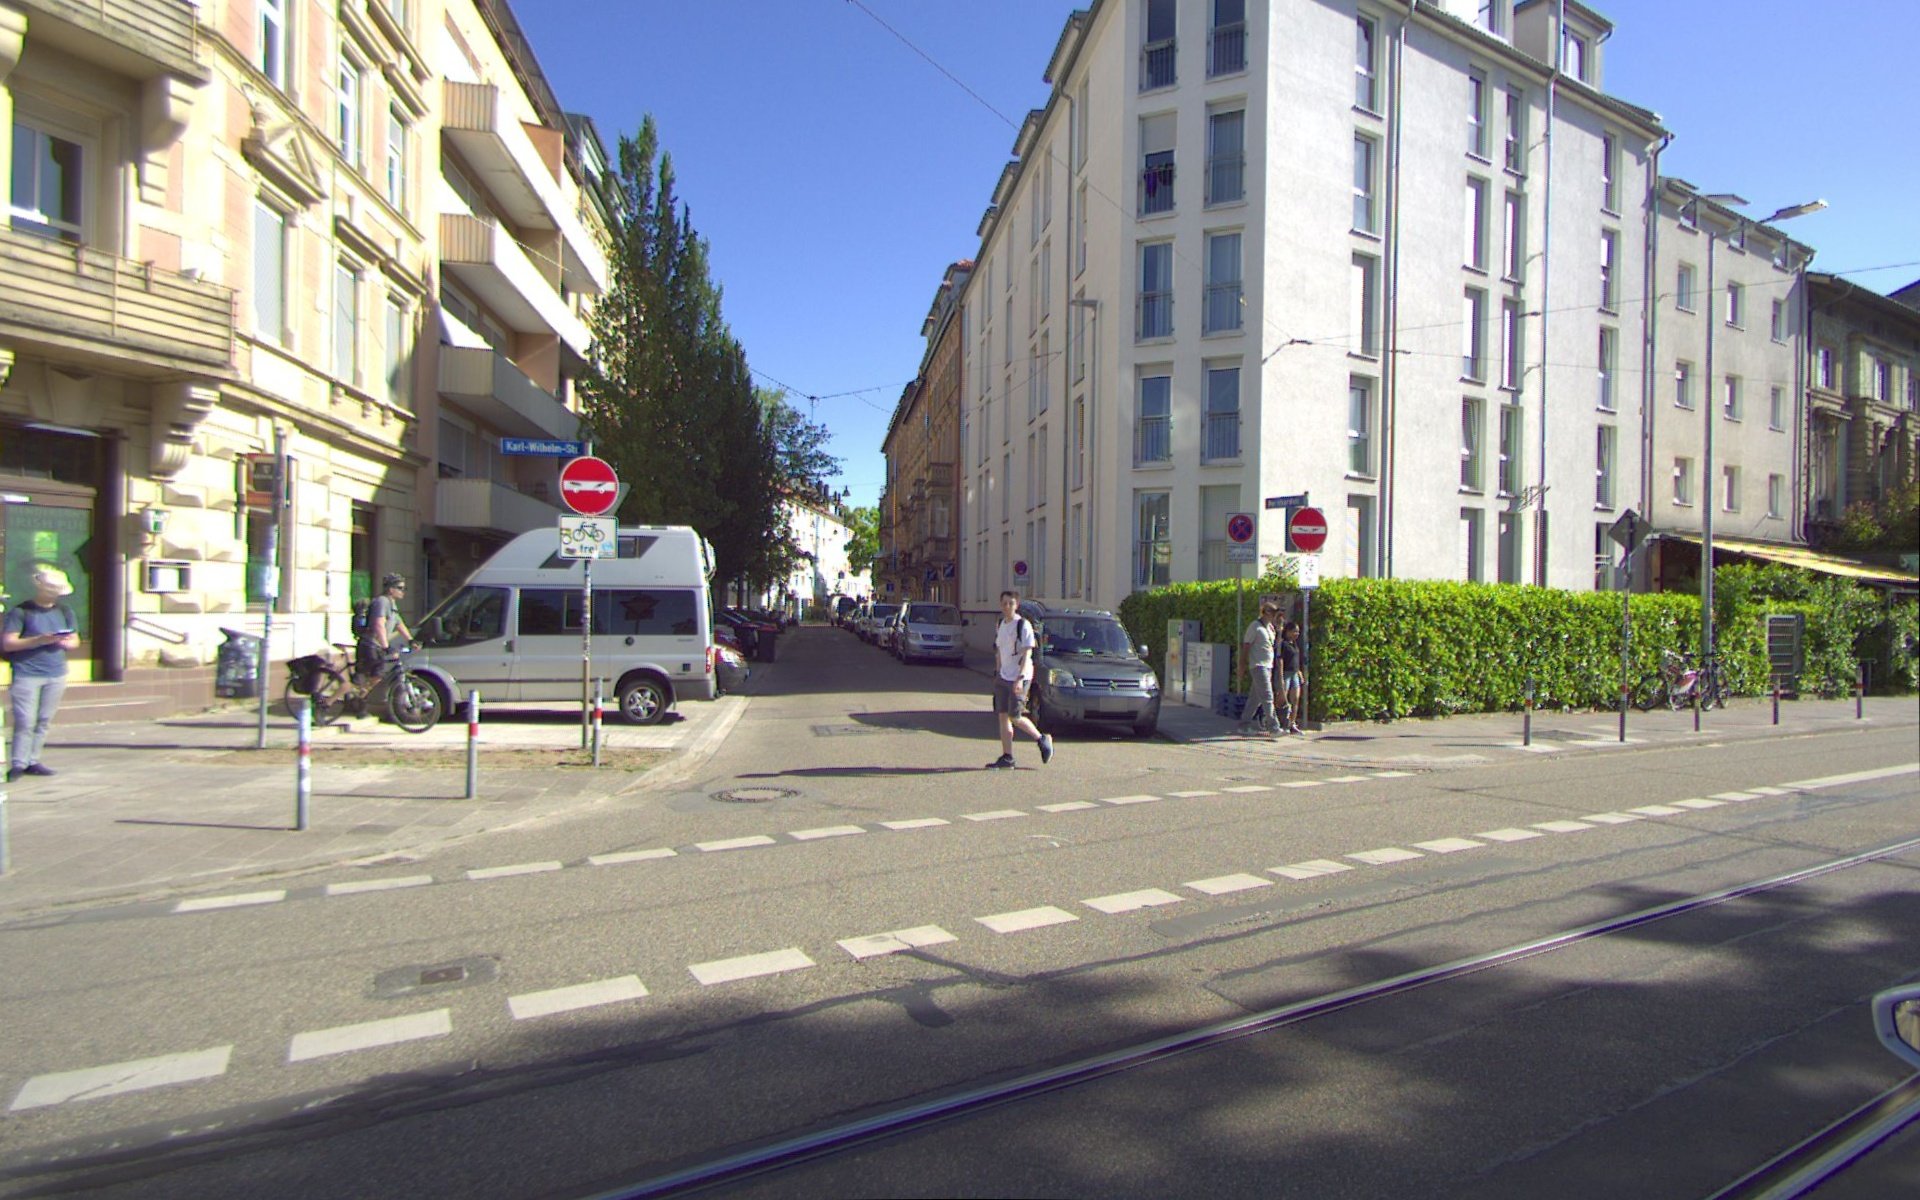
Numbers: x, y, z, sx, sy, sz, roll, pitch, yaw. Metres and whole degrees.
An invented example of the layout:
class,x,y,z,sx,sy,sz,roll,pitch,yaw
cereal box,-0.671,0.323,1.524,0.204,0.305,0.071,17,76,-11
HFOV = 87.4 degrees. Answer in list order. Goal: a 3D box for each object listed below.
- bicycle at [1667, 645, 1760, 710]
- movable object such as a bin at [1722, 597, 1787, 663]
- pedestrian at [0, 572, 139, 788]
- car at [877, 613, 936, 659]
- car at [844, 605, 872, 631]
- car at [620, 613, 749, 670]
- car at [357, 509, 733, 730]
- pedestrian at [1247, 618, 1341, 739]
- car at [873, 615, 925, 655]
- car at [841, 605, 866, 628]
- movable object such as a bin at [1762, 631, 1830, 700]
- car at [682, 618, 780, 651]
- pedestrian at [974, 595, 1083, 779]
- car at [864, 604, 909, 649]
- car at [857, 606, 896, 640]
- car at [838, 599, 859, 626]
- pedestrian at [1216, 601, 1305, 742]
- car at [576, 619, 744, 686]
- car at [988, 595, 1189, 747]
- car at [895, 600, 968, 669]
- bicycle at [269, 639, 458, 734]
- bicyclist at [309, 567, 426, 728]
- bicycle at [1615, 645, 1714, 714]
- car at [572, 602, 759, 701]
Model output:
class,x,y,z,sx,sy,sz,roll,pitch,yaw
bicycle,13.899,1.410,18.511,1.818,1.104,0.658,2,2,-30
movable object such as a bin,18.313,0.697,23.145,1.244,1.476,0.802,1,-1,-32
pedestrian,-7.446,0.626,8.214,0.816,1.676,0.707,2,-1,2
car,-2.071,1.330,37.812,1.782,1.589,3.994,2,-1,-9
car,-7.304,1.283,71.594,1.782,1.754,3.994,2,-1,-9
car,-8.212,1.248,30.207,3.548,1.574,1.390,2,-1,-9
car,-5.781,0.341,14.666,4.702,2.878,1.888,2,-1,-14
pedestrian,4.395,1.009,13.271,0.745,1.498,0.953,1,1,-16
car,-2.647,1.471,42.875,1.782,1.589,3.994,2,-1,-9
car,-8.586,1.316,80.911,1.782,1.754,3.994,2,-1,-9
movable object such as a bin,18.499,1.428,22.230,1.244,1.476,0.802,1,-1,-32
car,-9.320,1.419,41.106,3.788,1.202,1.390,2,-1,-9
pedestrian,0.697,0.852,10.266,0.856,1.791,0.688,1,0,-30
car,-3.561,1.263,48.261,1.782,2.035,3.994,2,-1,-9
car,-4.553,1.246,54.541,1.782,1.754,3.994,2,-1,-9
car,-10.654,1.195,95.948,1.782,2.449,3.994,2,-1,-9
pedestrian,3.865,0.900,12.962,0.745,1.737,0.805,1,1,-16
car,-6.949,1.222,23.547,3.529,1.419,1.573,2,-1,-9
car,1.663,0.926,14.407,1.759,1.831,4.048,2,-1,-9
car,-0.986,1.070,31.991,1.782,2.006,3.994,2,-1,-9
bicycle,-7.200,1.045,12.206,1.802,1.069,0.705,2,-1,-10
bicyclist,-7.177,0.569,12.215,0.968,1.878,0.705,2,-1,-10
bicycle,12.316,1.369,17.552,1.818,1.104,0.658,2,2,-30
car,-5.638,0.996,19.573,3.284,1.775,1.450,2,-1,-11
